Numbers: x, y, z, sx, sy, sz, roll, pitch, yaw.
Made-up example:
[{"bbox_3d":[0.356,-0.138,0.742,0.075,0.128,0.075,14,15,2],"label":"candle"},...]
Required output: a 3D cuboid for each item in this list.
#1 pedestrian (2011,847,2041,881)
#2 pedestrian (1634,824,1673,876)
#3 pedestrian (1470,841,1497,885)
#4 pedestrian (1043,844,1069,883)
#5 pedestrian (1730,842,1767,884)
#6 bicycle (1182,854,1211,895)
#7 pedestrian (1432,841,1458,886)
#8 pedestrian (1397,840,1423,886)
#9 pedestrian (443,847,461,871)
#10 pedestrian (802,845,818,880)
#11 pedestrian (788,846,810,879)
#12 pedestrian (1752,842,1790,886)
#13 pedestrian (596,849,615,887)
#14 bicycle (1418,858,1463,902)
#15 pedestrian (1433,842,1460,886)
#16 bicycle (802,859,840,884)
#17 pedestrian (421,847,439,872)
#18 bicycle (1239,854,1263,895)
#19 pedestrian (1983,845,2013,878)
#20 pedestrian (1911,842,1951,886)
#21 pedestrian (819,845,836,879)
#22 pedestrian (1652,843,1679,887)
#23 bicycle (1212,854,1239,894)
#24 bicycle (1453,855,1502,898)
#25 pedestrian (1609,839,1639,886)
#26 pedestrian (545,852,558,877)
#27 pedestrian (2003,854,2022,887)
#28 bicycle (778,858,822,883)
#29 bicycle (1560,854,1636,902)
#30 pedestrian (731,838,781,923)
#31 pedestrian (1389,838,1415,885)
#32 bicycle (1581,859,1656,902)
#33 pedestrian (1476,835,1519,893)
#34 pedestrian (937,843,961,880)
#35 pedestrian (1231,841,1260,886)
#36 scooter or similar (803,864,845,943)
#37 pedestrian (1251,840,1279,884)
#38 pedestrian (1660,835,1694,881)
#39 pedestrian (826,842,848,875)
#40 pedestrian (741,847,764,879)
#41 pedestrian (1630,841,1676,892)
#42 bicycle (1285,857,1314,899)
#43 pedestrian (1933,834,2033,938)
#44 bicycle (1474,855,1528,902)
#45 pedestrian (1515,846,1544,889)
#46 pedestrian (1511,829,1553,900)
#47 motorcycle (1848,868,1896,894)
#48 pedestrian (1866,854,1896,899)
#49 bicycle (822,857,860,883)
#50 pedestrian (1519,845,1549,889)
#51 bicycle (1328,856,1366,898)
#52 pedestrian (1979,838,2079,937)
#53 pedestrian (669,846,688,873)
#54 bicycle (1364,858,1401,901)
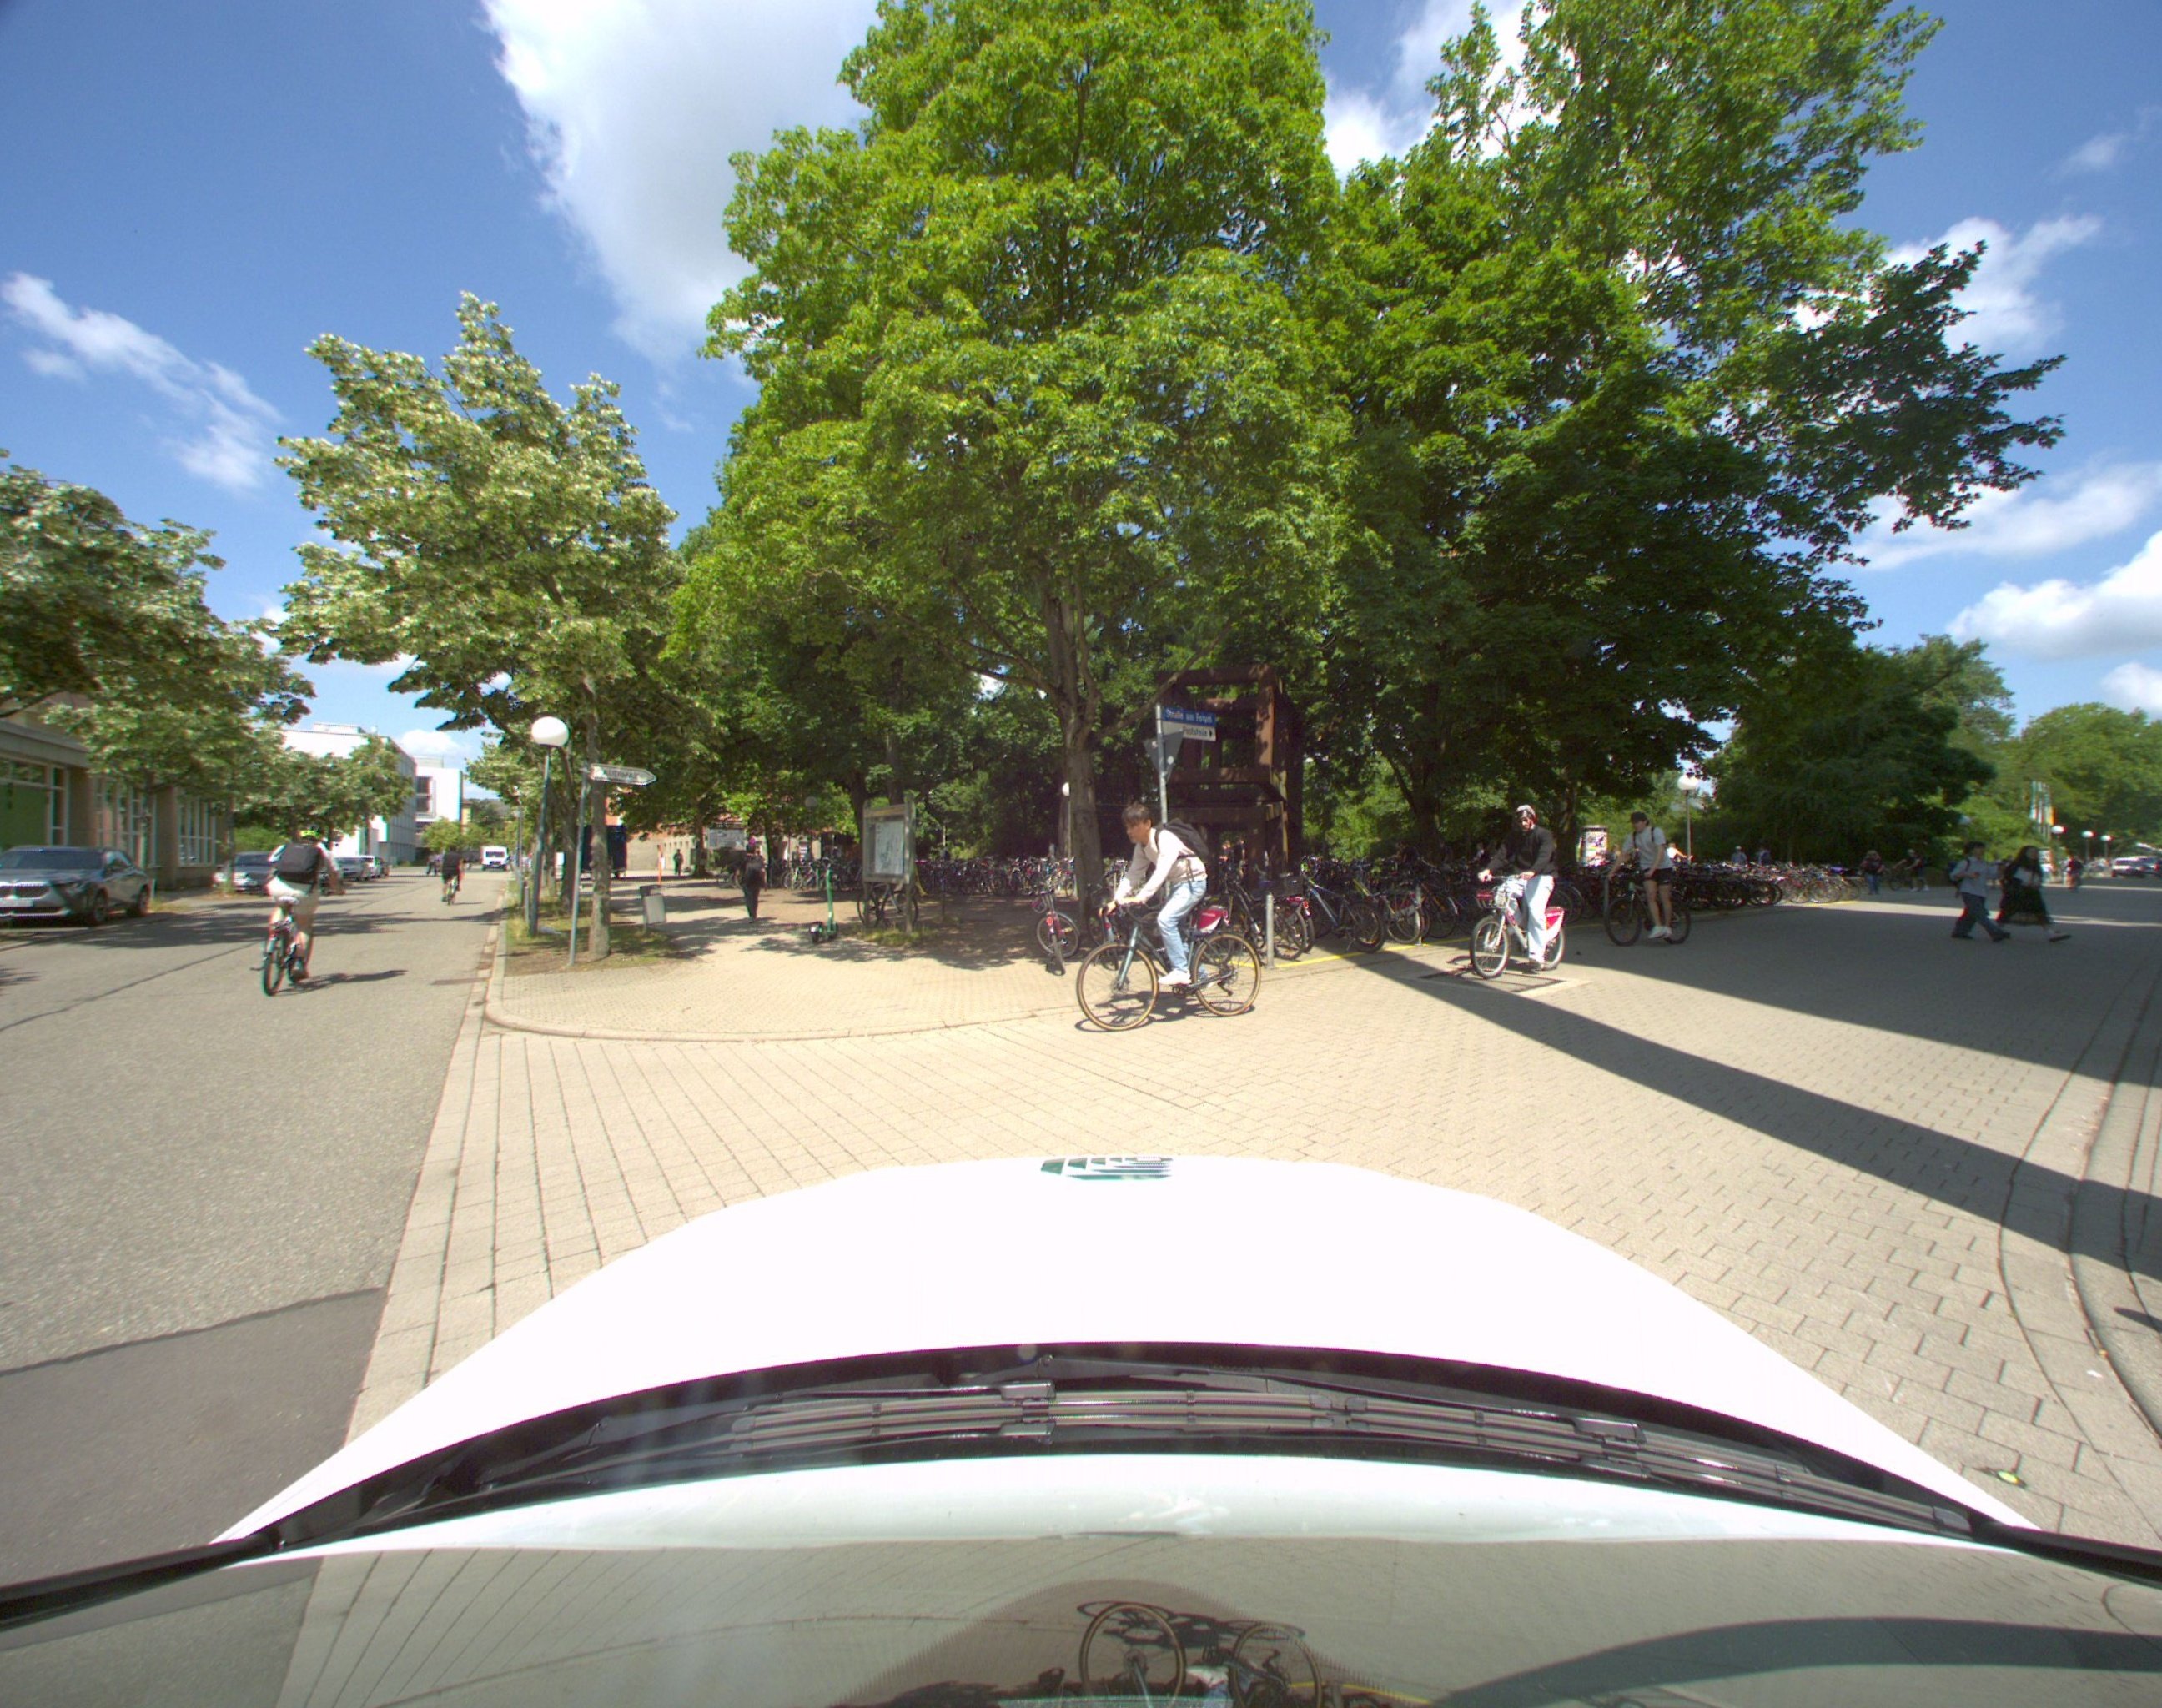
[{"bbox_3d":[51.378,0.543,44.295,0.776,1.844,0.686,2,0,6],"label":"pedestrian"},{"bbox_3d":[20.469,-0.153,29.135,0.935,1.835,0.686,0,0,-1],"label":"pedestrian"},{"bbox_3d":[15.791,0.346,31.968,0.896,1.679,0.774,1,0,21],"label":"pedestrian"},{"bbox_3d":[-1.143,0.430,37.078,0.773,1.774,0.897,1,0,-35],"label":"pedestrian"},{"bbox_3d":[28.753,0.378,35.090,0.978,1.804,0.769,1,0,-4],"label":"pedestrian"},{"bbox_3d":[3.315,0.571,23.329,0.497,1.108,1.915,1,0,17],"label":"bicycle"},{"bbox_3d":[14.555,0.375,32.567,0.896,1.774,0.774,1,0,21],"label":"pedestrian"},{"bbox_3d":[13.069,0.337,32.363,0.896,1.774,0.774,1,0,21],"label":"pedestrian"},{"bbox_3d":[-47.210,0.371,61.081,0.895,1.774,0.775,1,0,32],"label":"pedestrian"},{"bbox_3d":[-13.993,0.422,42.028,0.662,1.771,0.506,1,0,44],"label":"pedestrian"},{"bbox_3d":[-15.458,0.462,44.656,0.895,1.774,0.775,1,0,37],"label":"pedestrian"},{"bbox_3d":[28.914,0.411,34.152,0.877,1.815,0.834,1,0,-3],"label":"pedestrian"},{"bbox_3d":[-19.118,0.563,32.756,0.572,1.520,0.833,1,0,-27],"label":"pedestrian"},{"bbox_3d":[9.724,0.690,22.082,0.499,1.108,1.700,1,0,1],"label":"bicycle"},{"bbox_3d":[14.223,0.374,31.702,0.896,1.679,0.774,1,0,21],"label":"pedestrian"},{"bbox_3d":[-11.602,0.765,36.368,0.468,1.083,1.869,1,0,23],"label":"bicycle"},{"bbox_3d":[-47.932,0.415,59.954,0.895,1.774,0.775,1,0,32],"label":"pedestrian"},{"bbox_3d":[4.848,0.562,23.177,0.497,1.108,1.788,1,0,17],"label":"bicycle"},{"bbox_3d":[51.832,0.429,46.053,0.776,1.845,1.125,2,1,31],"label":"pedestrian"},{"bbox_3d":[36.192,0.432,34.669,1.042,1.835,0.615,1,0,3],"label":"pedestrian"},{"bbox_3d":[-13.231,0.415,42.524,0.613,1.774,0.651,1,0,-42],"label":"pedestrian"},{"bbox_3d":[22.812,0.426,31.798,0.678,1.724,0.735,0,0,18],"label":"pedestrian"},{"bbox_3d":[4.169,0.555,23.407,0.497,1.108,1.788,1,0,17],"label":"bicycle"},{"bbox_3d":[10.661,0.587,21.956,0.499,1.108,1.700,1,0,1],"label":"bicycle"},{"bbox_3d":[20.293,0.316,30.433,0.735,1.724,0.679,1,1,-37],"label":"pedestrian"},{"bbox_3d":[-32.726,0.671,50.313,0.624,1.520,0.728,1,0,-33],"label":"pedestrian"},{"bbox_3d":[46.328,0.840,40.507,0.923,1.611,0.564,2,0,-40],"label":"pedestrian"},{"bbox_3d":[-12.670,0.740,36.759,0.468,1.083,1.871,1,0,38],"label":"bicycle"},{"bbox_3d":[14.058,0.627,22.176,1.678,1.220,0.506,1,0,44],"label":"bicycle"},{"bbox_3d":[-6.681,0.522,16.744,0.731,1.684,0.864,0,0,-39],"label":"pedestrian"},{"bbox_3d":[12.467,0.290,31.609,0.896,1.774,0.774,1,0,21],"label":"pedestrian"},{"bbox_3d":[14.977,0.724,22.713,1.678,1.108,0.506,1,0,44],"label":"bicycle"},{"bbox_3d":[12.542,0.290,24.548,0.900,1.703,0.770,1,0,2],"label":"pedestrian"},{"bbox_3d":[-6.589,0.367,40.653,0.895,1.774,0.775,1,0,37],"label":"pedestrian"},{"bbox_3d":[6.606,0.366,32.682,0.895,1.774,0.775,1,0,32],"label":"pedestrian"},{"bbox_3d":[-4.092,0.762,13.006,0.291,1.195,1.185,0,0,1],"label":"scooter or similar"},{"bbox_3d":[7.588,0.320,33.616,0.895,1.774,0.775,1,0,33],"label":"pedestrian"},{"bbox_3d":[22.561,0.151,30.826,0.681,1.724,0.926,0,0,-40],"label":"pedestrian"},{"bbox_3d":[-13.554,0.268,45.269,0.895,1.802,0.775,1,0,37],"label":"pedestrian"},{"bbox_3d":[-18.822,0.494,46.636,0.776,1.774,0.925,1,0,37],"label":"pedestrian"},{"bbox_3d":[19.584,0.412,27.900,1.058,1.724,0.718,0,0,-3],"label":"pedestrian"},{"bbox_3d":[6.113,0.639,22.827,0.499,1.108,1.702,1,0,5],"label":"bicycle"},{"bbox_3d":[14.907,0.514,13.483,0.670,1.670,0.899,0,0,2],"label":"pedestrian"},{"bbox_3d":[11.275,0.626,21.917,0.572,1.199,1.700,1,0,1],"label":"bicycle"},{"bbox_3d":[17.799,0.525,32.305,0.896,1.679,0.774,1,0,21],"label":"pedestrian"},{"bbox_3d":[11.758,0.276,21.260,0.762,1.806,0.712,1,0,12],"label":"pedestrian"},{"bbox_3d":[36.590,1.228,37.708,0.470,1.047,2.031,1,2,8],"label":"motorcycle"},{"bbox_3d":[30.390,0.854,30.927,0.912,1.680,0.761,0,0,-43],"label":"pedestrian"},{"bbox_3d":[-10.530,0.677,35.819,0.468,1.083,1.869,1,0,23],"label":"bicycle"},{"bbox_3d":[17.524,0.500,31.552,0.896,1.679,0.774,1,0,21],"label":"pedestrian"},{"bbox_3d":[7.365,0.621,22.628,0.626,1.108,1.702,1,0,5],"label":"bicycle"},{"bbox_3d":[15.877,0.544,13.659,0.800,1.617,0.743,0,-1,9],"label":"pedestrian"},{"bbox_3d":[-26.496,0.342,53.638,0.895,1.774,0.775,1,0,37],"label":"pedestrian"},{"bbox_3d":[8.321,0.687,22.532,0.499,1.108,1.702,1,0,5],"label":"bicycle"}]
